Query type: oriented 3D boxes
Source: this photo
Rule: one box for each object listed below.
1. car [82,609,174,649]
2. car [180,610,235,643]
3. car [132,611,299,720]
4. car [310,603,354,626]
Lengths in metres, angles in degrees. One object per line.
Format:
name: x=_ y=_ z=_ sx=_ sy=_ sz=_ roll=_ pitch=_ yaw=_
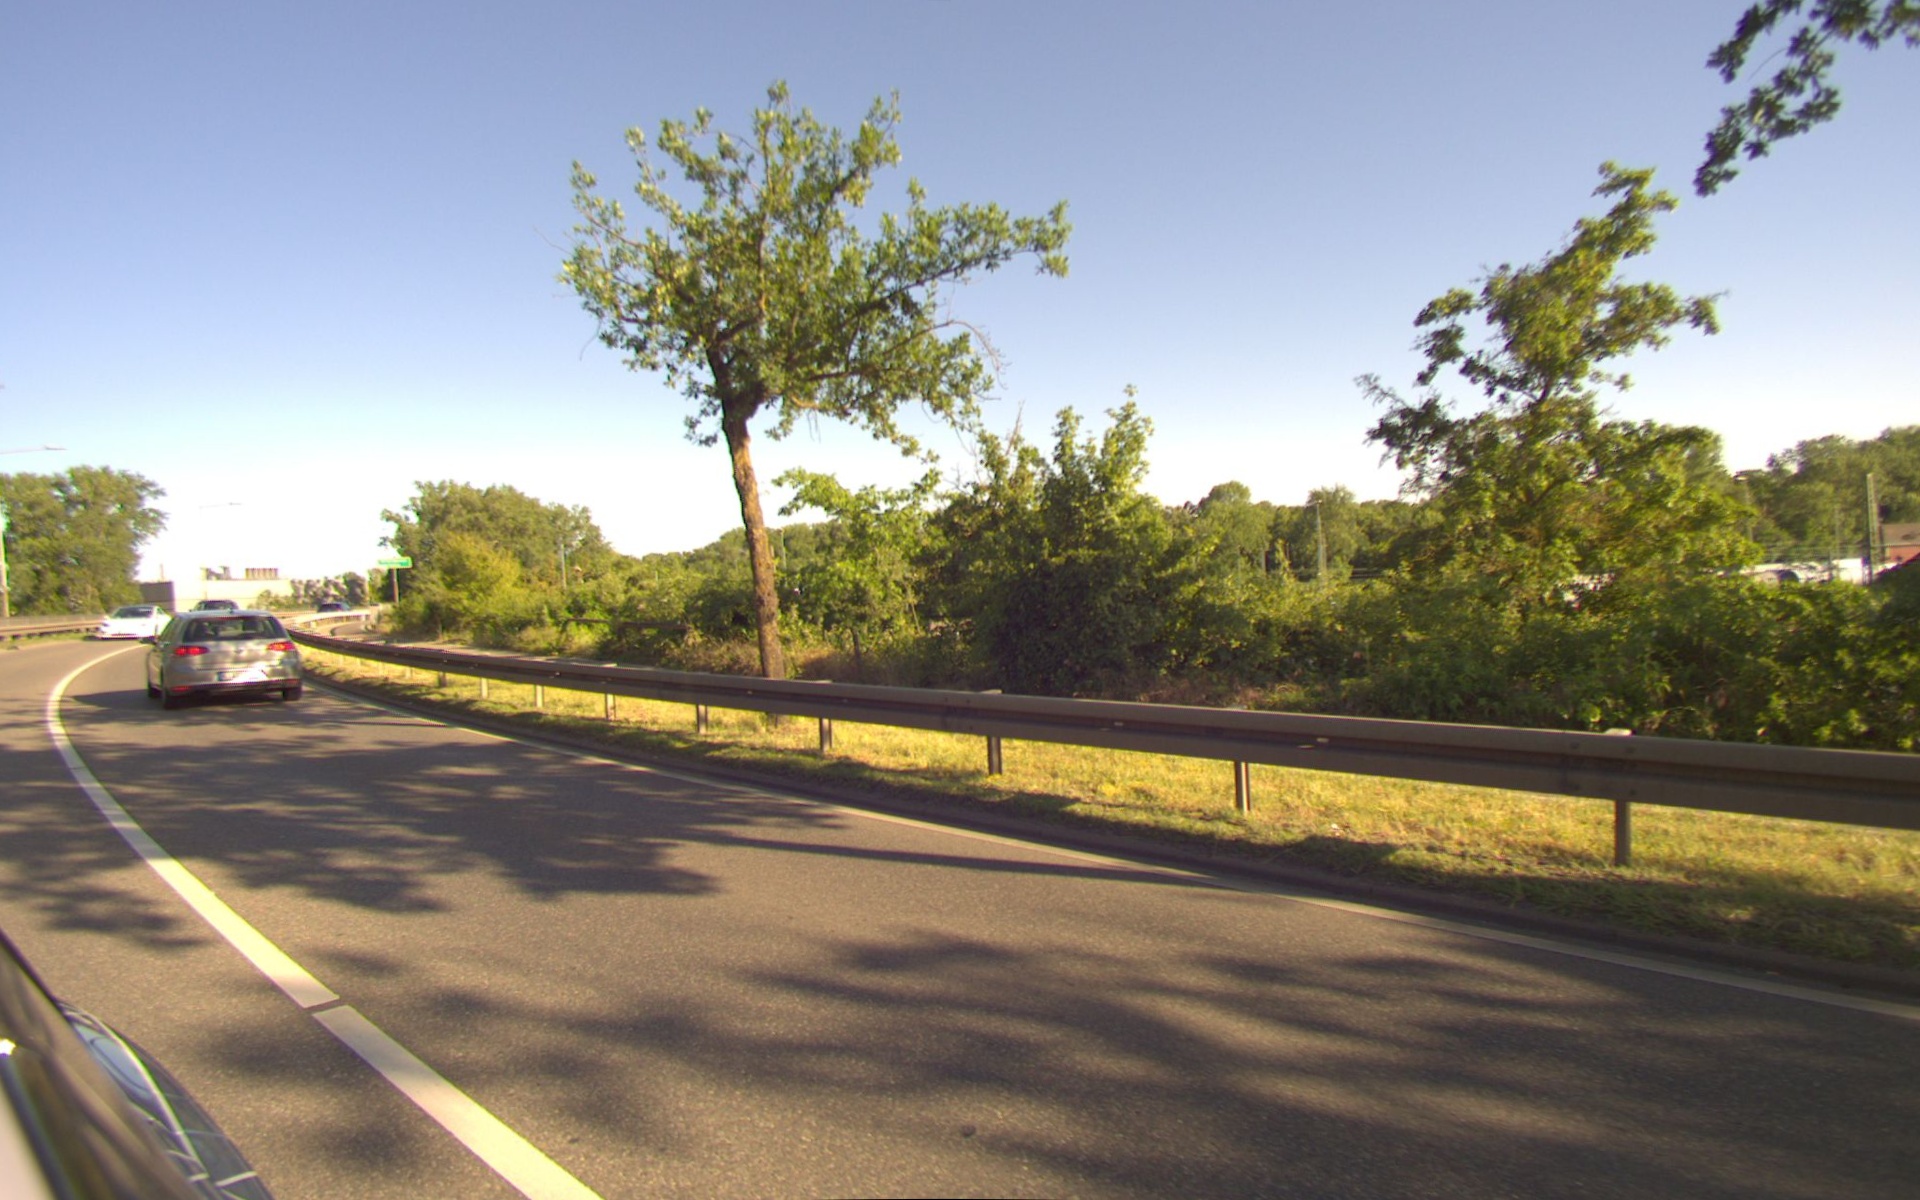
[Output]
car: x=-35.374 y=1.178 z=43.160 sx=2.114 sy=1.579 sz=4.212 roll=0 pitch=0 yaw=-26
car: x=-41.634 y=1.437 z=56.082 sx=1.655 sy=1.717 sz=3.617 roll=-1 pitch=1 yaw=-24
car: x=-12.038 y=0.945 z=16.267 sx=1.675 sy=1.530 sz=3.984 roll=0 pitch=-1 yaw=-44
car: x=-42.917 y=0.945 z=69.207 sx=1.655 sy=1.461 sz=4.013 roll=-1 pitch=1 yaw=-18
